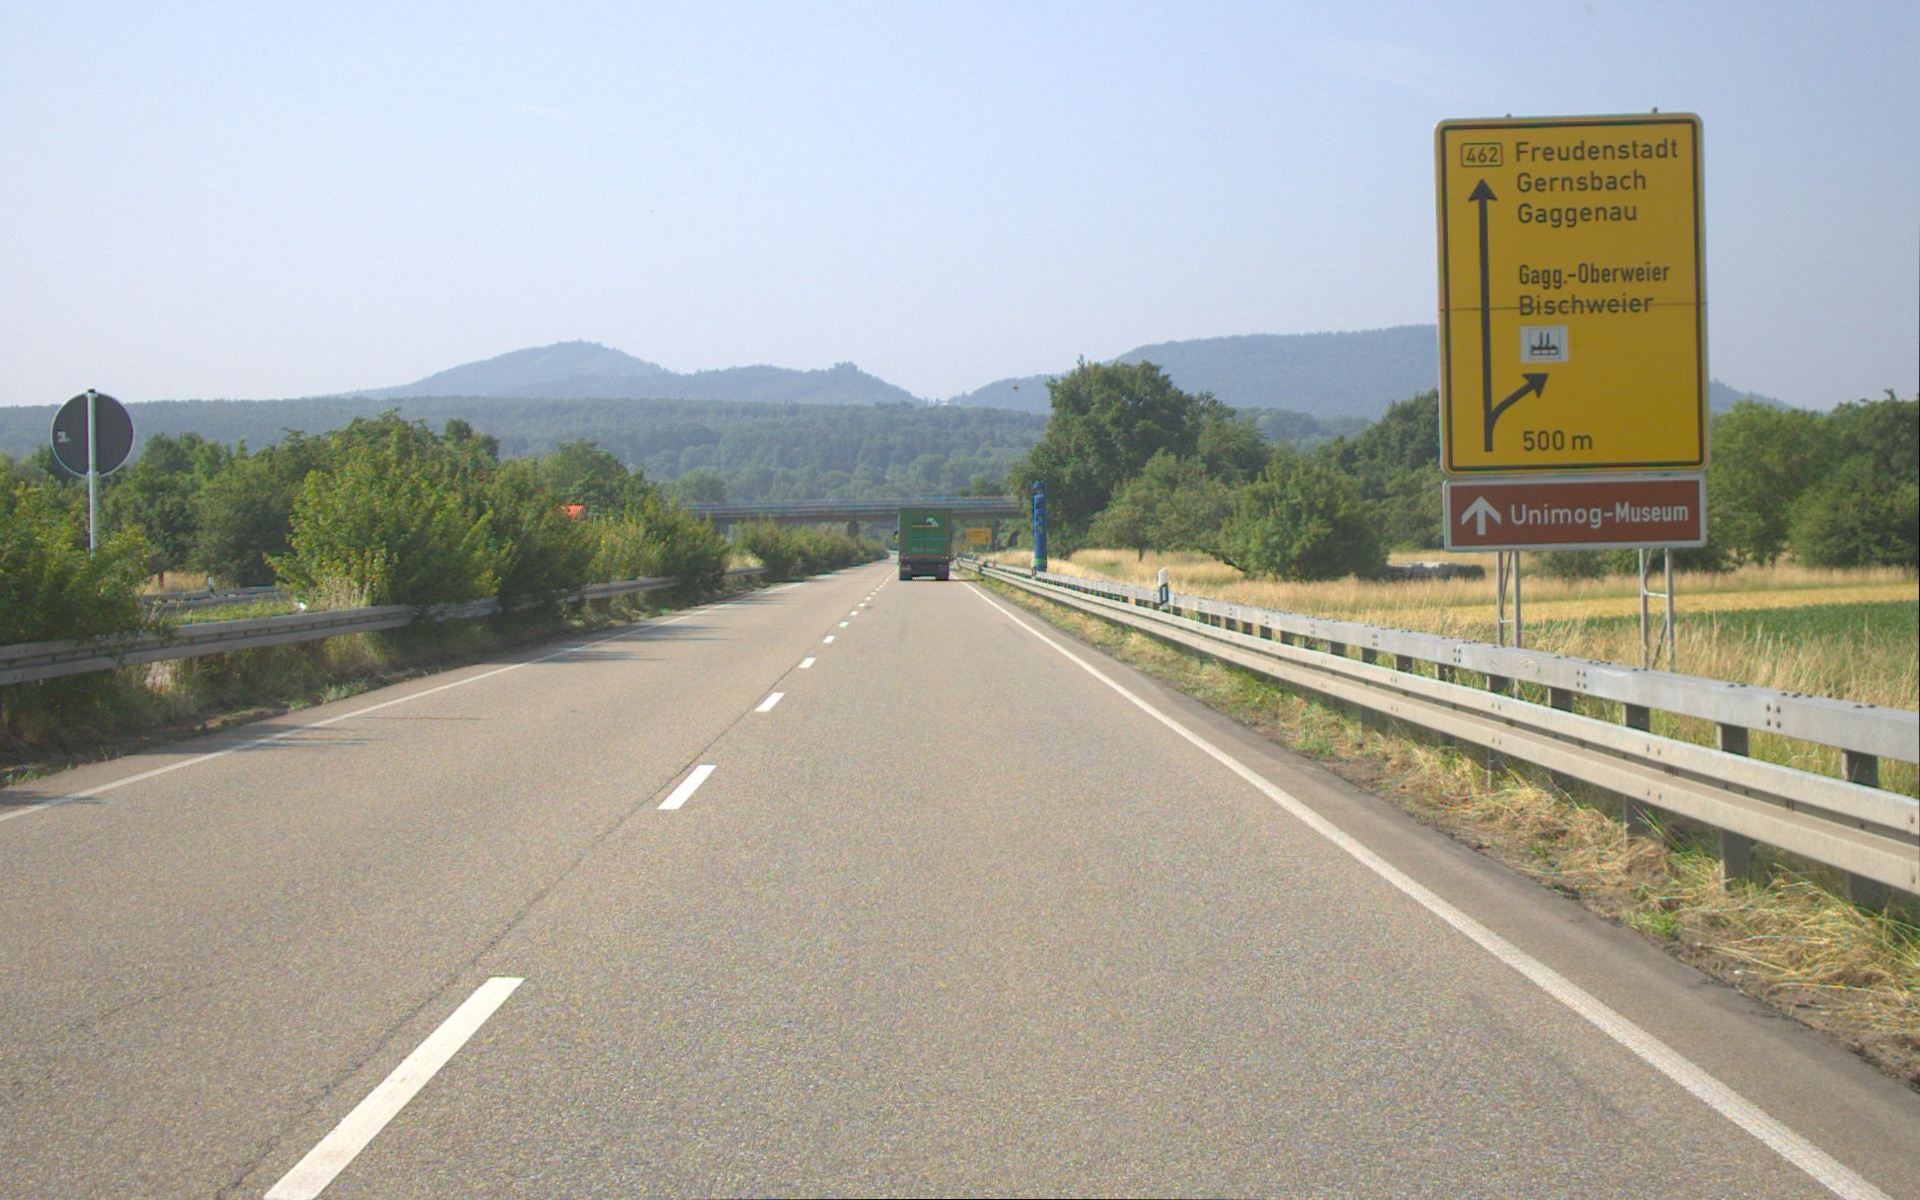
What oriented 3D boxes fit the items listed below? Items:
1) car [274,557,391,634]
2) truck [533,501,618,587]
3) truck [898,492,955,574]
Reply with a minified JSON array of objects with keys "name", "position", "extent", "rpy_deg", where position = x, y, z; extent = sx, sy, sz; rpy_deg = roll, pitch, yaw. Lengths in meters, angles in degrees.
[{"name":"car","position":[-12.234,-0.111,67.256],"extent":[1.557,1.426,4.037],"rpy_deg":[-1,1,0]},{"name":"truck","position":[-16.562,-2.412,148.529],"extent":[2.602,3.576,10.386],"rpy_deg":[0,1,-1]},{"name":"truck","position":[-1.657,-3.428,173.229],"extent":[2.722,3.952,10.417],"rpy_deg":[1,2,0]}]
